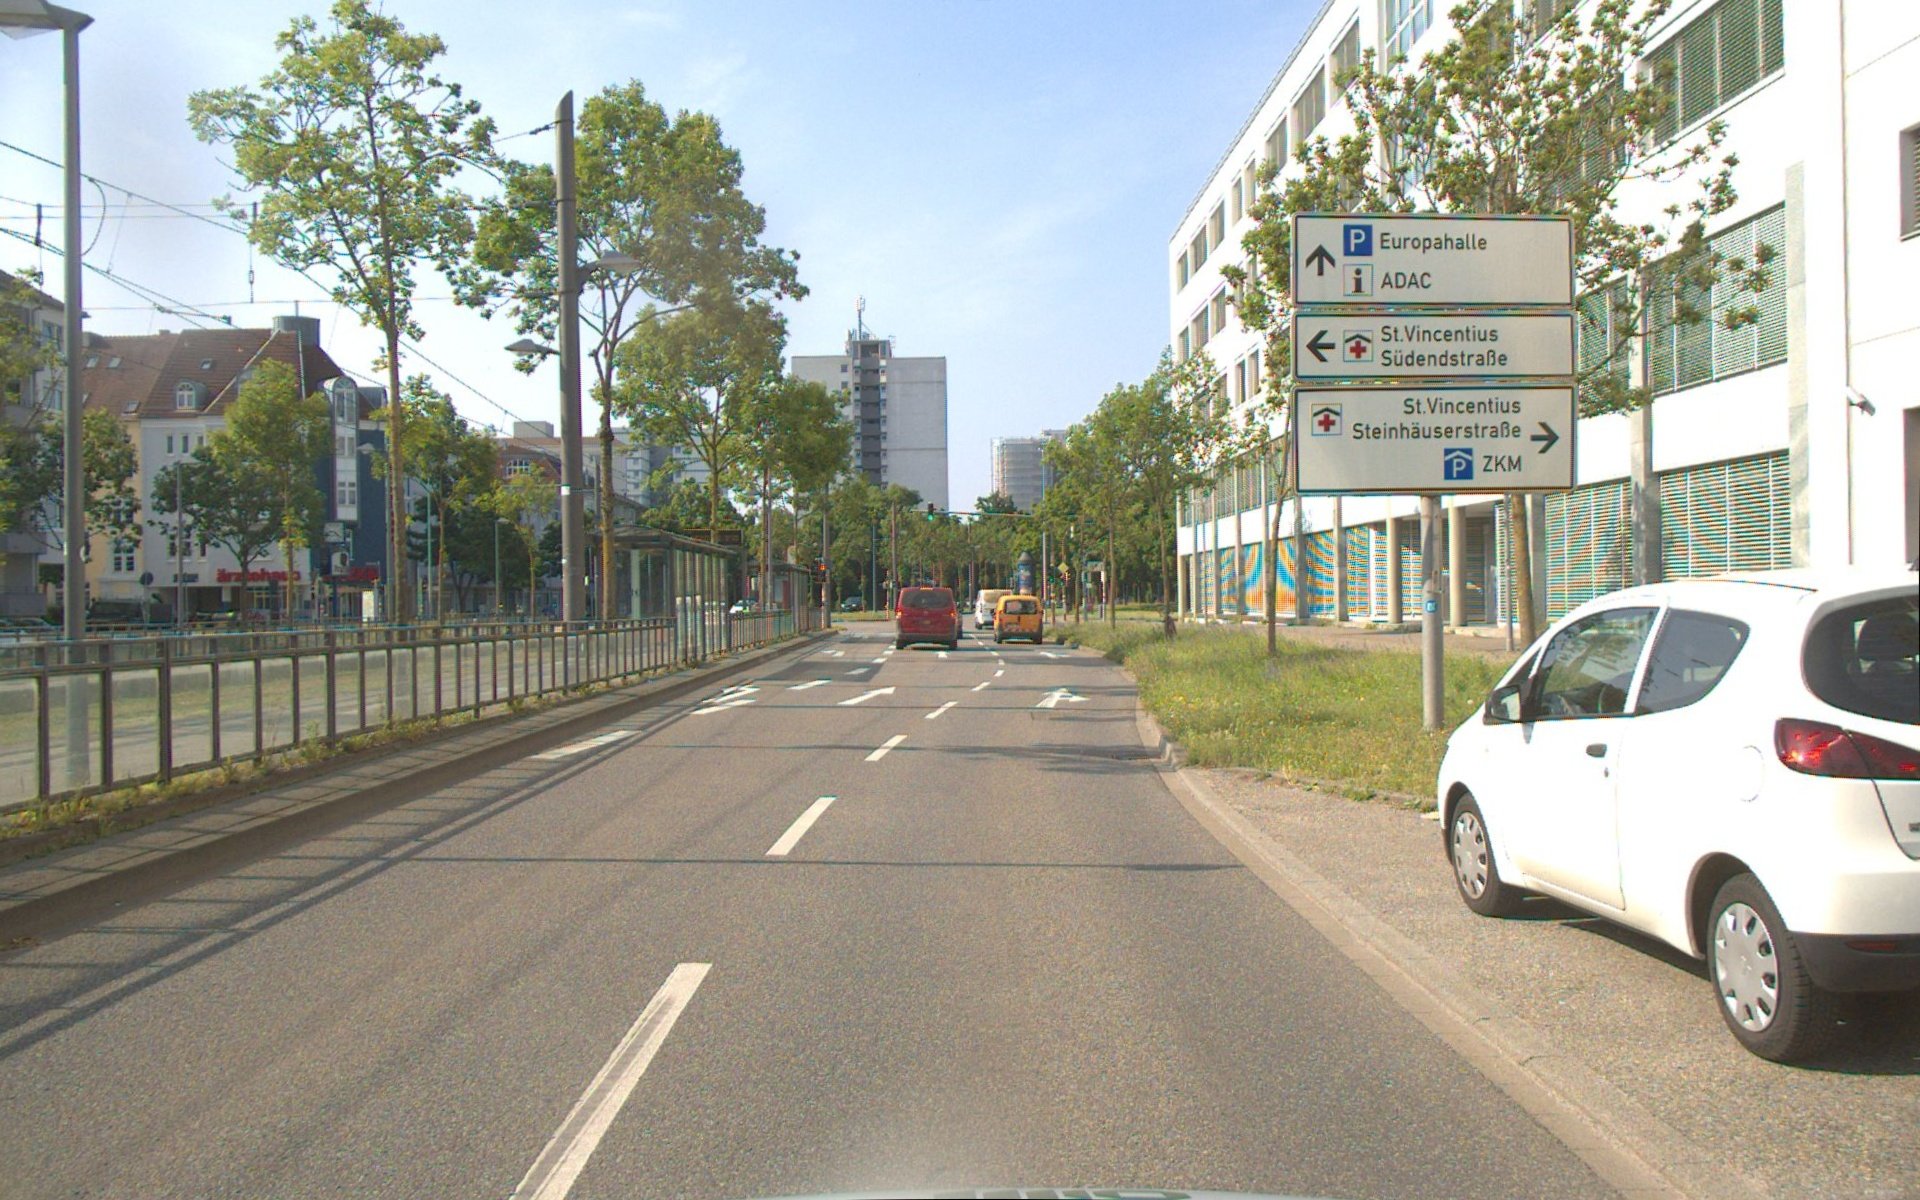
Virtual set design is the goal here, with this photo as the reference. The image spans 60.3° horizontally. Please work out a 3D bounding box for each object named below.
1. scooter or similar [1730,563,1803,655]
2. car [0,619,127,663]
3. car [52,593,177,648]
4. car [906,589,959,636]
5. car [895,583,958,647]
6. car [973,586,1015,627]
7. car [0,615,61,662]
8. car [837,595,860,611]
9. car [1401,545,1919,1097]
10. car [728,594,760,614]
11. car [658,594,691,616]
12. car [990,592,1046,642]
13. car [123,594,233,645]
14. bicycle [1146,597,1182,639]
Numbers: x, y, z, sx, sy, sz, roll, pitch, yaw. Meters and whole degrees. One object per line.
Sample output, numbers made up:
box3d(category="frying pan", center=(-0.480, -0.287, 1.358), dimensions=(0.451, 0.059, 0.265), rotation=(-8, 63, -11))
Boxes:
box3d(category="scooter or similar", center=(11.322, 0.122, 23.248), dimensions=(0.453, 1.234, 1.255), rotation=(-2, 0, 5))
box3d(category="car", center=(-27.283, 1.225, 49.449), dimensions=(3.902, 1.266, 1.941), rotation=(-1, 0, 14))
box3d(category="car", center=(-33.468, 0.793, 65.646), dimensions=(2.318, 2.066, 5.309), rotation=(1, 0, -2))
box3d(category="car", center=(-1.096, 0.489, 65.449), dimensions=(1.953, 1.735, 3.999), rotation=(-2, 0, -1))
box3d(category="car", center=(-1.077, 0.452, 51.101), dimensions=(1.837, 1.886, 3.998), rotation=(-1, 0, -2))
box3d(category="car", center=(1.693, 0.332, 84.280), dimensions=(1.953, 2.049, 3.999), rotation=(1, 0, -1))
box3d(category="car", center=(-27.844, 1.086, 46.835), dimensions=(3.902, 1.266, 1.941), rotation=(-1, 0, 14))
box3d(category="car", center=(-11.686, 0.319, 173.540), dimensions=(1.836, 1.601, 4.002), rotation=(-1, 0, 4))
box3d(category="car", center=(3.238, 0.595, 6.690), dimensions=(1.655, 1.552, 3.848), rotation=(-3, 0, -3))
box3d(category="car", center=(-17.670, 0.338, 135.529), dimensions=(1.952, 1.624, 4.051), rotation=(1, 0, 2))
box3d(category="car", center=(-22.563, 0.398, 130.740), dimensions=(1.953, 1.624, 3.999), rotation=(1, 0, -1))
box3d(category="car", center=(2.093, 0.604, 60.492), dimensions=(1.837, 1.726, 3.973), rotation=(-1, 0, -1))
box3d(category="car", center=(-33.748, 0.825, 71.565), dimensions=(2.318, 2.066, 5.309), rotation=(1, 0, -2))
box3d(category="bicycle", center=(5.183, 0.444, 42.099), dimensions=(0.605, 1.035, 1.879), rotation=(-1, 0, -2))
